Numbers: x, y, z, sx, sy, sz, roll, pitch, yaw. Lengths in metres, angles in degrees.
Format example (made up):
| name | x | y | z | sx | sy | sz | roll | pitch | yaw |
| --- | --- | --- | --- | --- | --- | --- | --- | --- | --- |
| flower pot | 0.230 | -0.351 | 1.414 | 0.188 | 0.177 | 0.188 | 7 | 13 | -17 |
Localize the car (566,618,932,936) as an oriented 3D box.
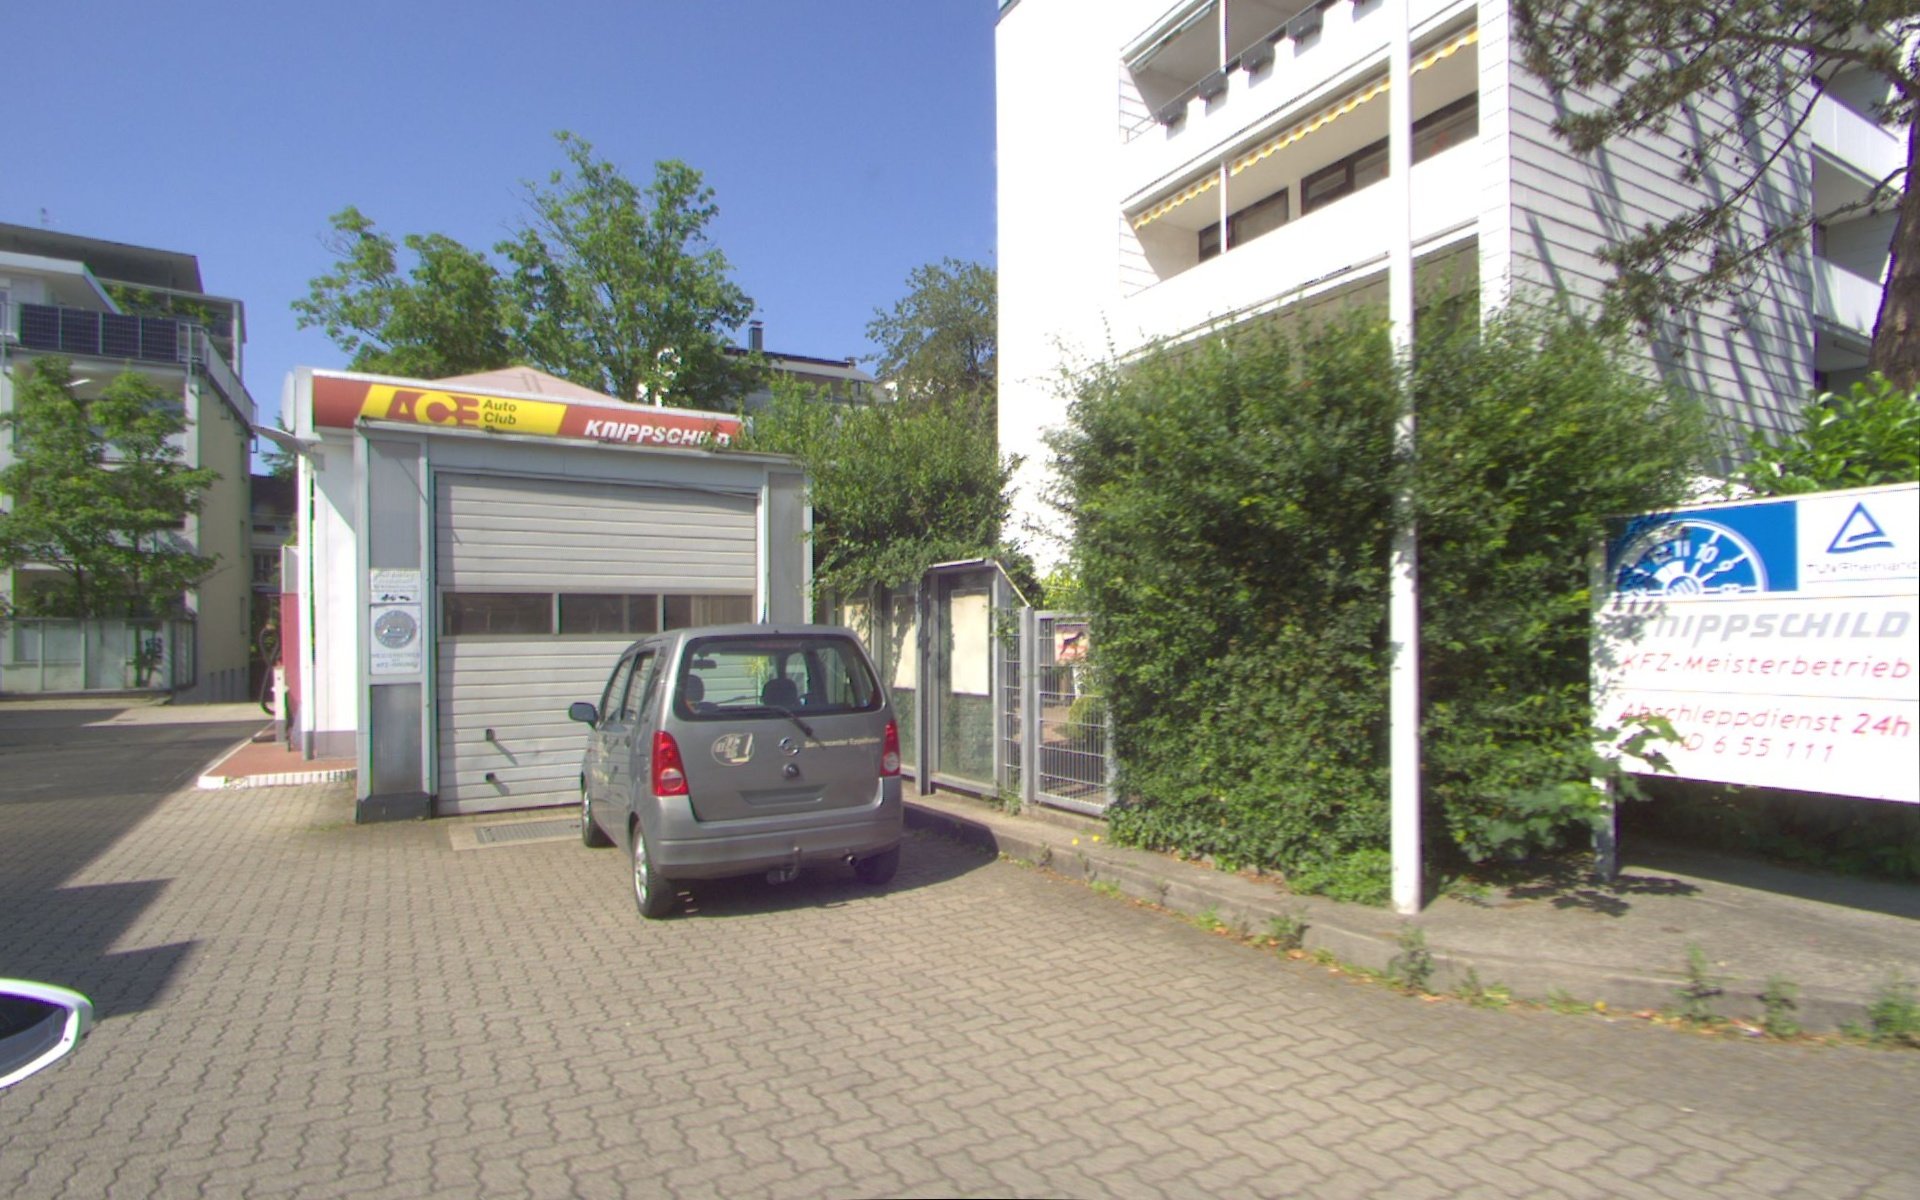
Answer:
| name | x | y | z | sx | sy | sz | roll | pitch | yaw |
| --- | --- | --- | --- | --- | --- | --- | --- | --- | --- |
| car | -1.746 | 1.023 | 7.196 | 1.667 | 1.637 | 3.649 | 0 | -3 | -27 |
